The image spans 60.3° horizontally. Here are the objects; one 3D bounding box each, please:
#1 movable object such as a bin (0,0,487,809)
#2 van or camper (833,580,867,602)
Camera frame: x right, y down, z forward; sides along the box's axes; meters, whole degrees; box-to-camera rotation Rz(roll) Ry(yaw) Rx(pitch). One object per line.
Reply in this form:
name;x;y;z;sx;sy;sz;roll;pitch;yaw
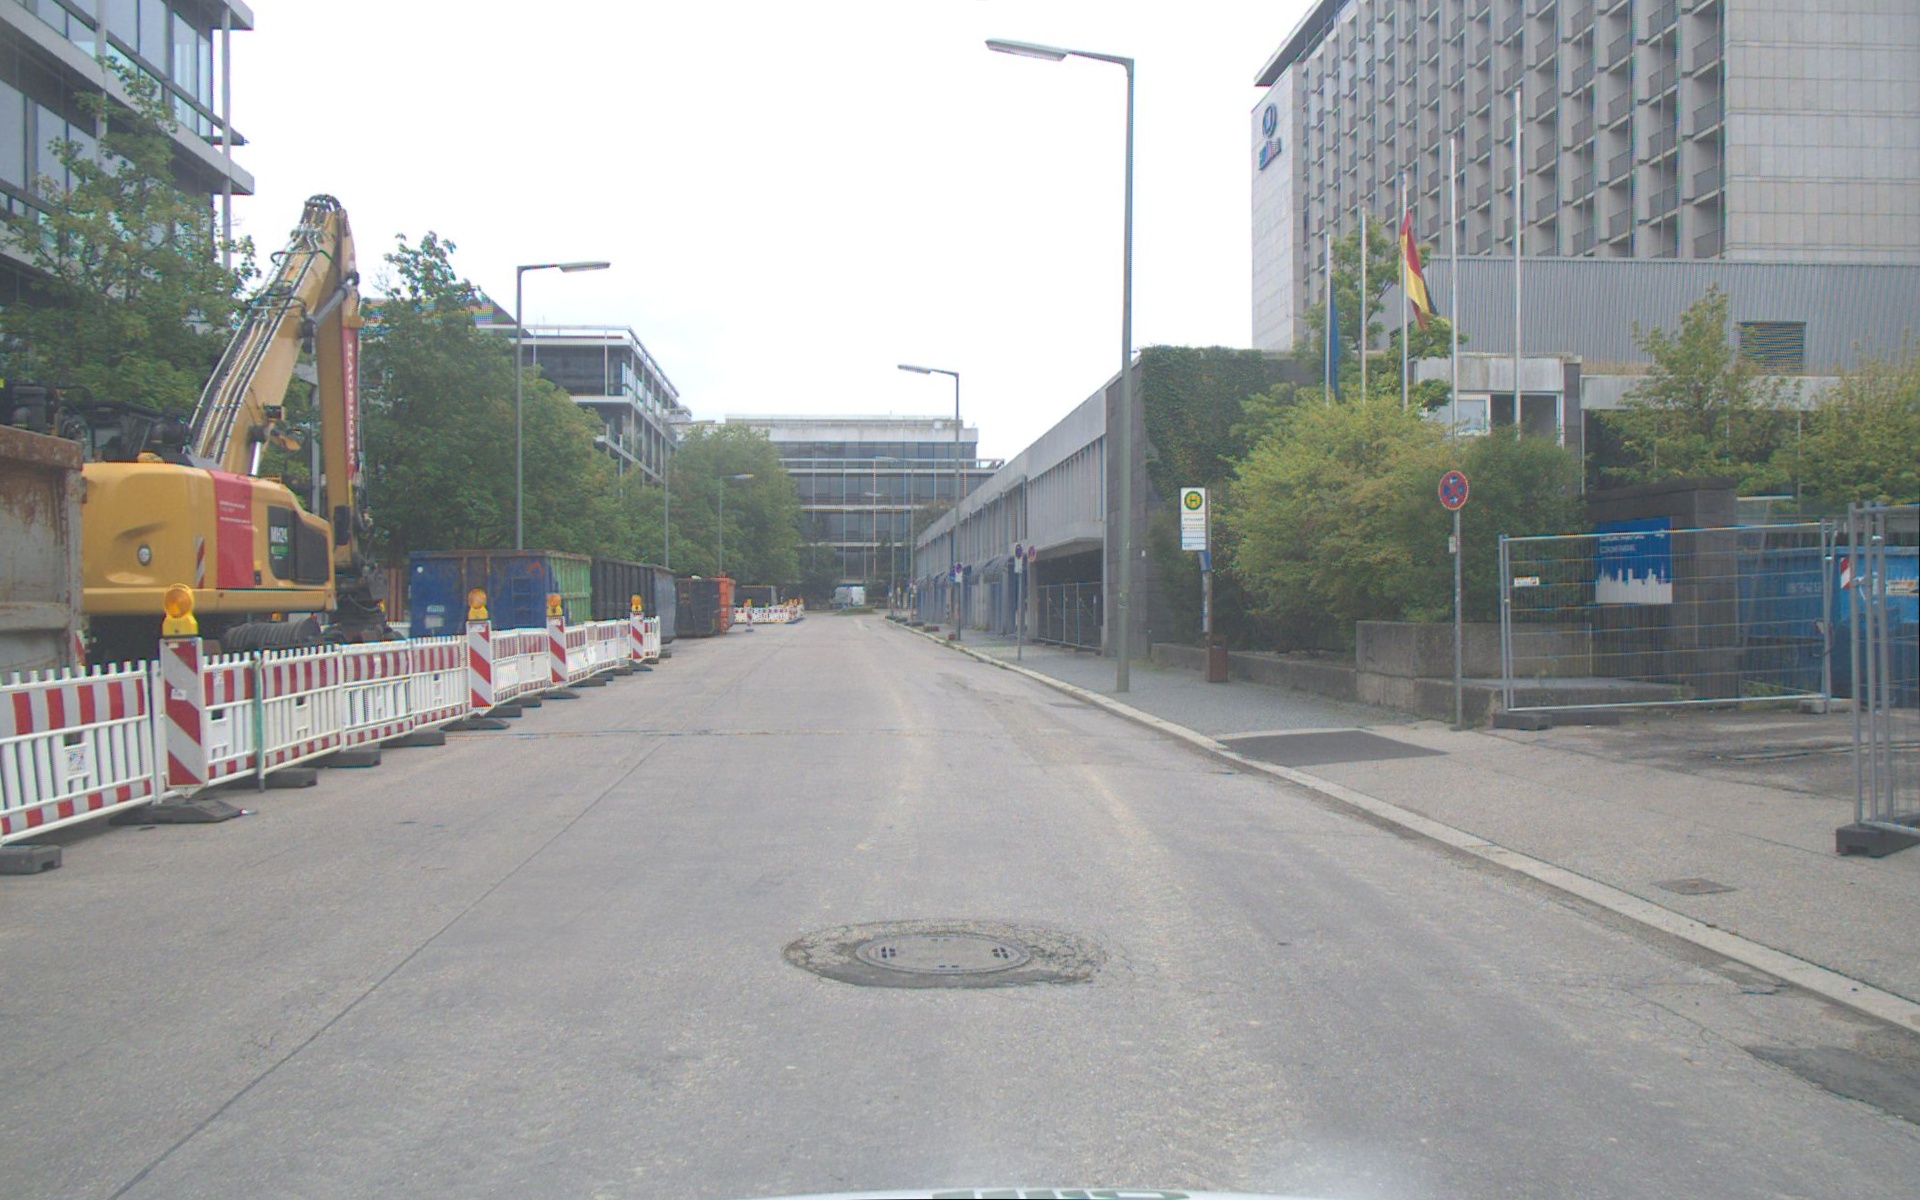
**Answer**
movable object such as a bin;-7.934;-1.766;18.350;2.847;6.679;11.772;-1;0;-5
van or camper;-12.757;-1.023;191.924;2.063;2.535;5.017;0;1;-29
